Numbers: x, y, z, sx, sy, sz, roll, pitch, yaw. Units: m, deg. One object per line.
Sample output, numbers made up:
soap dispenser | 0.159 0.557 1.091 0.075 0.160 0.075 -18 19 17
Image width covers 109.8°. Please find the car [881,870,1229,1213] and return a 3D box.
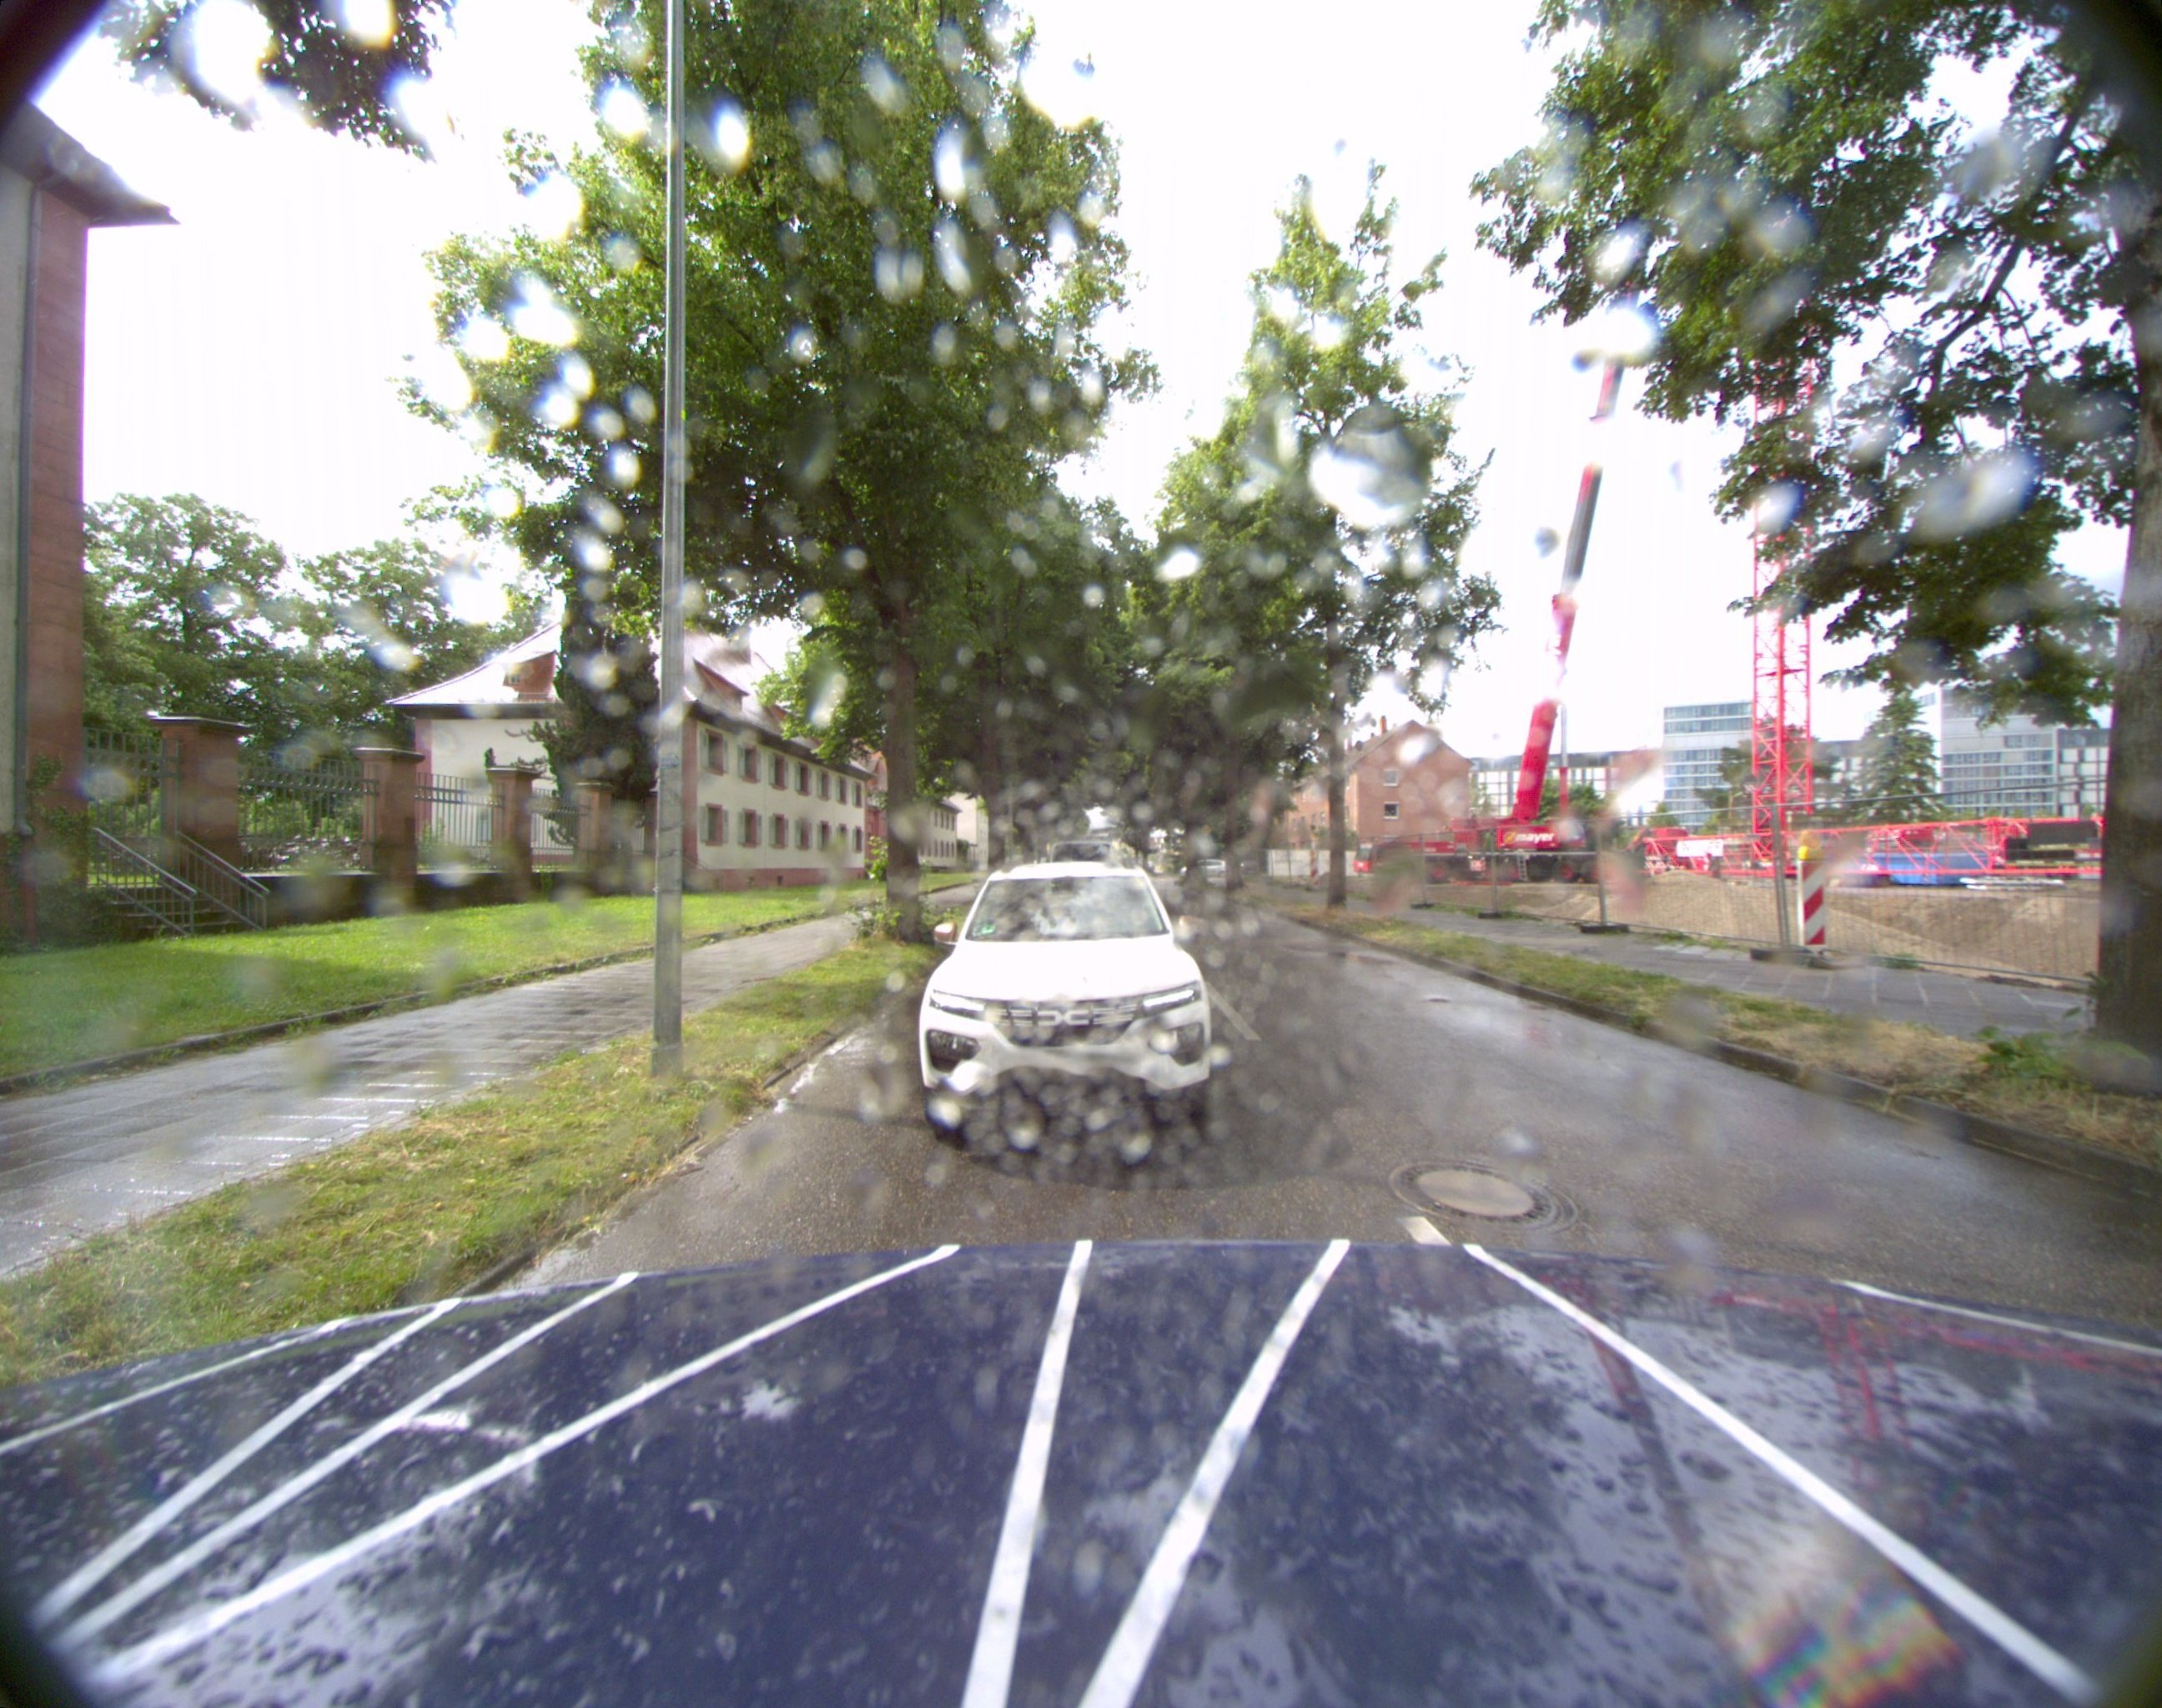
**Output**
car | -0.088 0.937 5.603 1.608 1.499 4.000 -2 0 1

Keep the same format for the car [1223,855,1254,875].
car | 13.408 0.929 64.845 1.693 1.521 3.999 -2 1 -1

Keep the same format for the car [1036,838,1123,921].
car | -0.099 0.602 21.617 2.107 1.990 5.433 -2 1 -1

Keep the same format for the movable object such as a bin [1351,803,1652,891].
movable object such as a bin | 24.881 -0.405 45.731 15.941 4.532 3.102 -2 1 4

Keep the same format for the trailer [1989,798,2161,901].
trailer | 35.718 -0.191 21.469 2.968 3.214 14.309 -4 0 0

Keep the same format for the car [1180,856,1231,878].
car | 9.849 1.045 60.194 3.867 1.543 1.699 -2 1 9
